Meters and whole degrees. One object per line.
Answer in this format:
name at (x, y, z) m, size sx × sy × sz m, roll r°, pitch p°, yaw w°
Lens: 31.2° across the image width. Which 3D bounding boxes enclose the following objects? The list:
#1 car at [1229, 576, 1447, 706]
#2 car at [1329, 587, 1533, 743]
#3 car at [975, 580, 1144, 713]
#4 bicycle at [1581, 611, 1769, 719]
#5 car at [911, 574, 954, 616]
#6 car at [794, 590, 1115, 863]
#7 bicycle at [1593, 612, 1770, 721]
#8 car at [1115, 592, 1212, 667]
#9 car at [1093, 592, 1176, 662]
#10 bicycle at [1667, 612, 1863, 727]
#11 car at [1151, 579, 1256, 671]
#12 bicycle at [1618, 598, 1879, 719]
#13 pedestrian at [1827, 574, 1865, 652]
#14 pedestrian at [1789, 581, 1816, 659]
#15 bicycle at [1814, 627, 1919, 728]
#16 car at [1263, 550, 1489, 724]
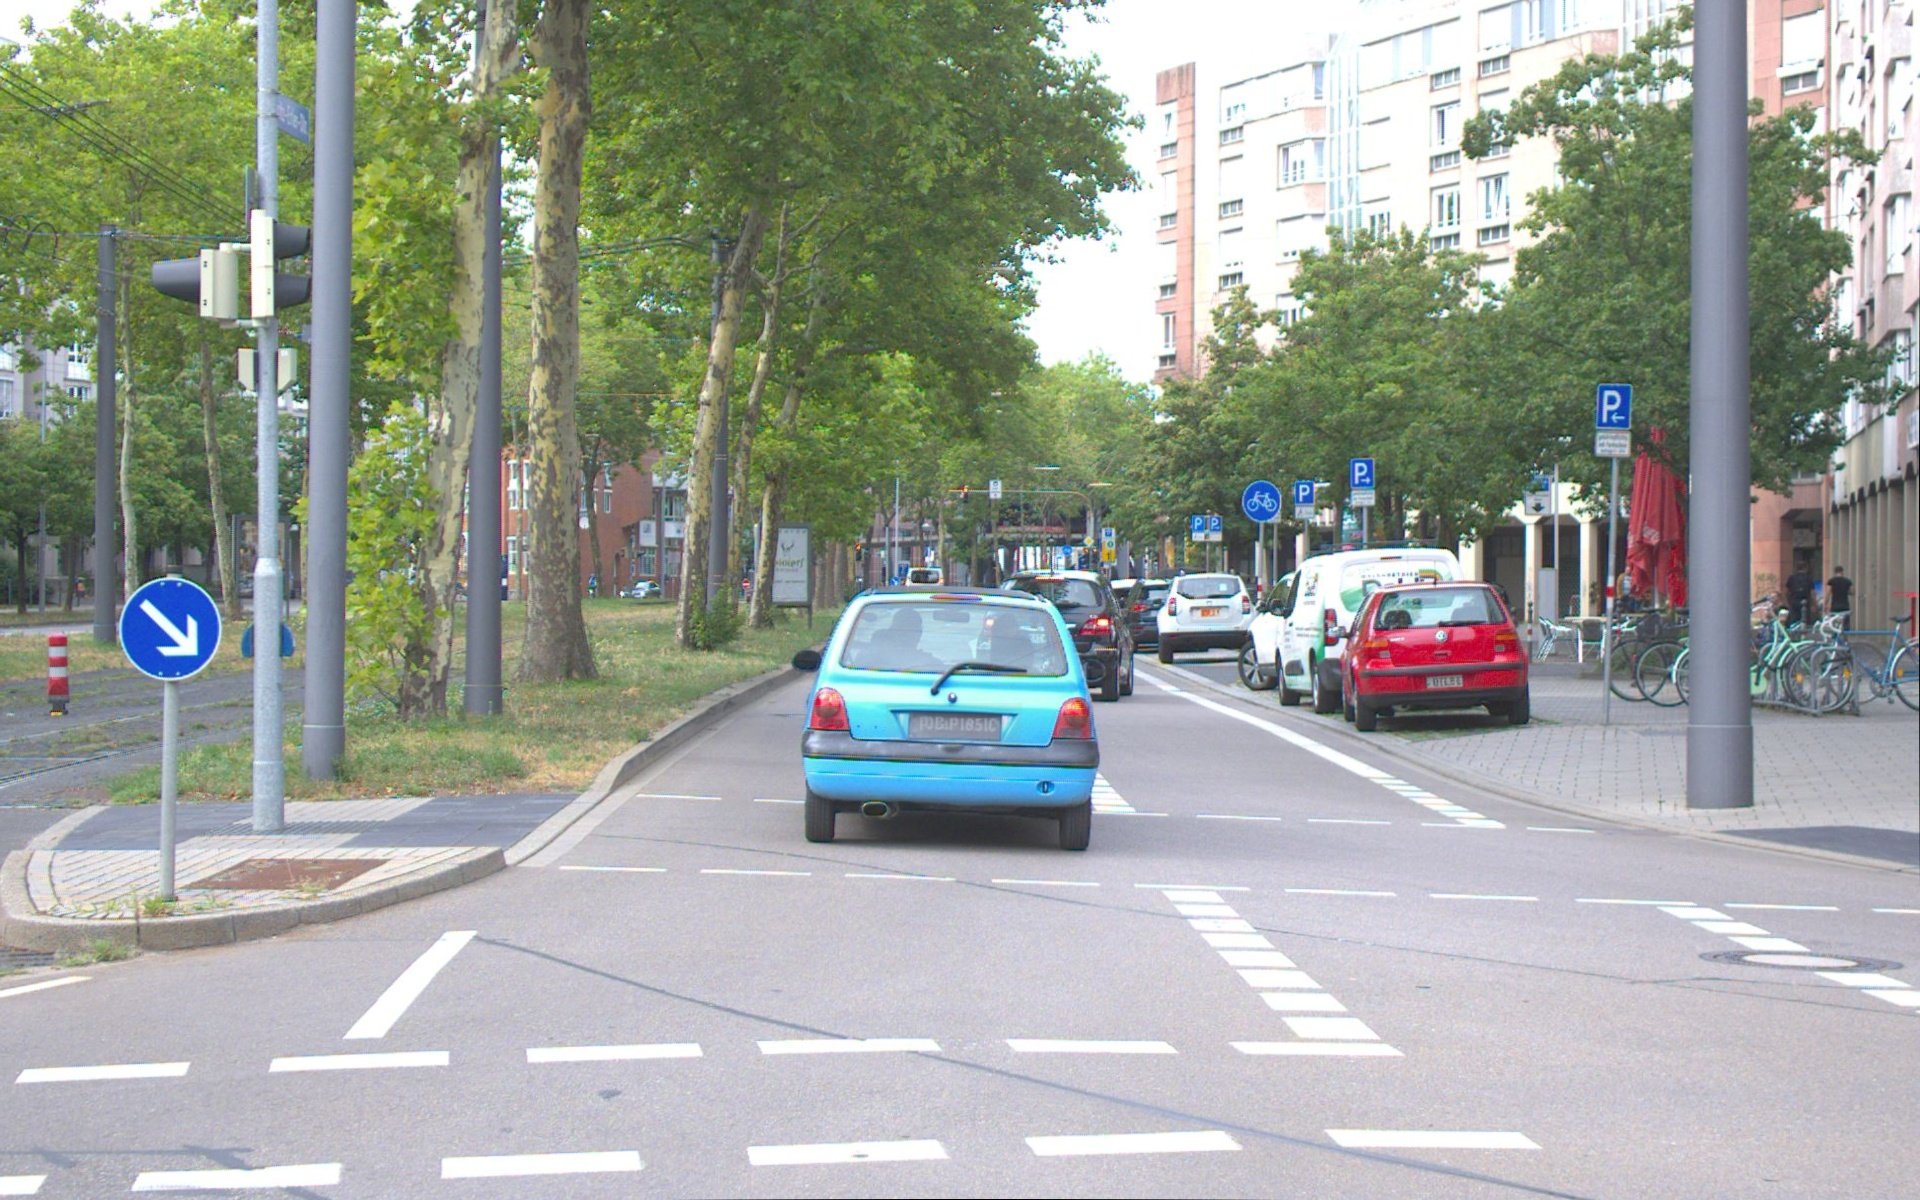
car at (5.007, 0.506, 46.170) m, size 1.994 × 1.597 × 4.584 m, roll -2°, pitch 1°, yaw -5°
car at (4.709, 0.615, 34.855) m, size 1.722 × 1.428 × 4.252 m, roll -2°, pitch 0°, yaw 4°
car at (1.316, 0.558, 43.610) m, size 1.775 × 1.571 × 4.303 m, roll -1°, pitch 0°, yaw 6°
bicycle at (8.158, 0.735, 39.266) m, size 2.056 × 1.193 × 0.479 m, roll 1°, pitch 0°, yaw 8°
car at (-1.278, -0.241, 160.820) m, size 1.931 × 1.919 × 4.955 m, roll 0°, pitch 0°, yaw 0°
car at (-0.011, 0.654, 19.869) m, size 1.640 × 1.381 × 3.843 m, roll 2°, pitch 0°, yaw 1°
bicycle at (8.119, 0.746, 38.733) m, size 1.909 × 1.193 × 0.479 m, roll 1°, pitch 0°, yaw 8°
car at (4.280, 0.596, 72.832) m, size 1.715 × 1.514 × 4.204 m, roll -1°, pitch 0°, yaw -1°
car at (3.941, 0.597, 78.207) m, size 1.740 × 1.514 × 4.401 m, roll 0°, pitch 0°, yaw 1°
bicycle at (8.047, 0.688, 34.390) m, size 1.848 × 1.135 × 0.493 m, roll 0°, pitch 0°, yaw -6°
car at (4.482, 0.444, 63.778) m, size 1.861 × 1.648 × 4.163 m, roll 0°, pitch 0°, yaw 3°
bicycle at (8.455, 0.623, 36.936) m, size 2.632 × 1.254 × 0.655 m, roll 1°, pitch 0°, yaw 0°
pedestrian at (17.770, 0.265, 68.971) m, size 0.710 × 1.550 × 0.798 m, roll 0°, pitch 0°, yaw 13°
pedestrian at (16.934, 0.393, 69.073) m, size 0.512 × 1.550 × 0.473 m, roll 0°, pitch 0°, yaw 13°
bicycle at (9.270, 0.761, 33.982) m, size 1.558 × 0.984 × 0.423 m, roll 0°, pitch 0°, yaw -4°
car at (4.746, 0.392, 39.817) m, size 1.826 × 1.858 × 4.648 m, roll -1°, pitch 0°, yaw -3°
